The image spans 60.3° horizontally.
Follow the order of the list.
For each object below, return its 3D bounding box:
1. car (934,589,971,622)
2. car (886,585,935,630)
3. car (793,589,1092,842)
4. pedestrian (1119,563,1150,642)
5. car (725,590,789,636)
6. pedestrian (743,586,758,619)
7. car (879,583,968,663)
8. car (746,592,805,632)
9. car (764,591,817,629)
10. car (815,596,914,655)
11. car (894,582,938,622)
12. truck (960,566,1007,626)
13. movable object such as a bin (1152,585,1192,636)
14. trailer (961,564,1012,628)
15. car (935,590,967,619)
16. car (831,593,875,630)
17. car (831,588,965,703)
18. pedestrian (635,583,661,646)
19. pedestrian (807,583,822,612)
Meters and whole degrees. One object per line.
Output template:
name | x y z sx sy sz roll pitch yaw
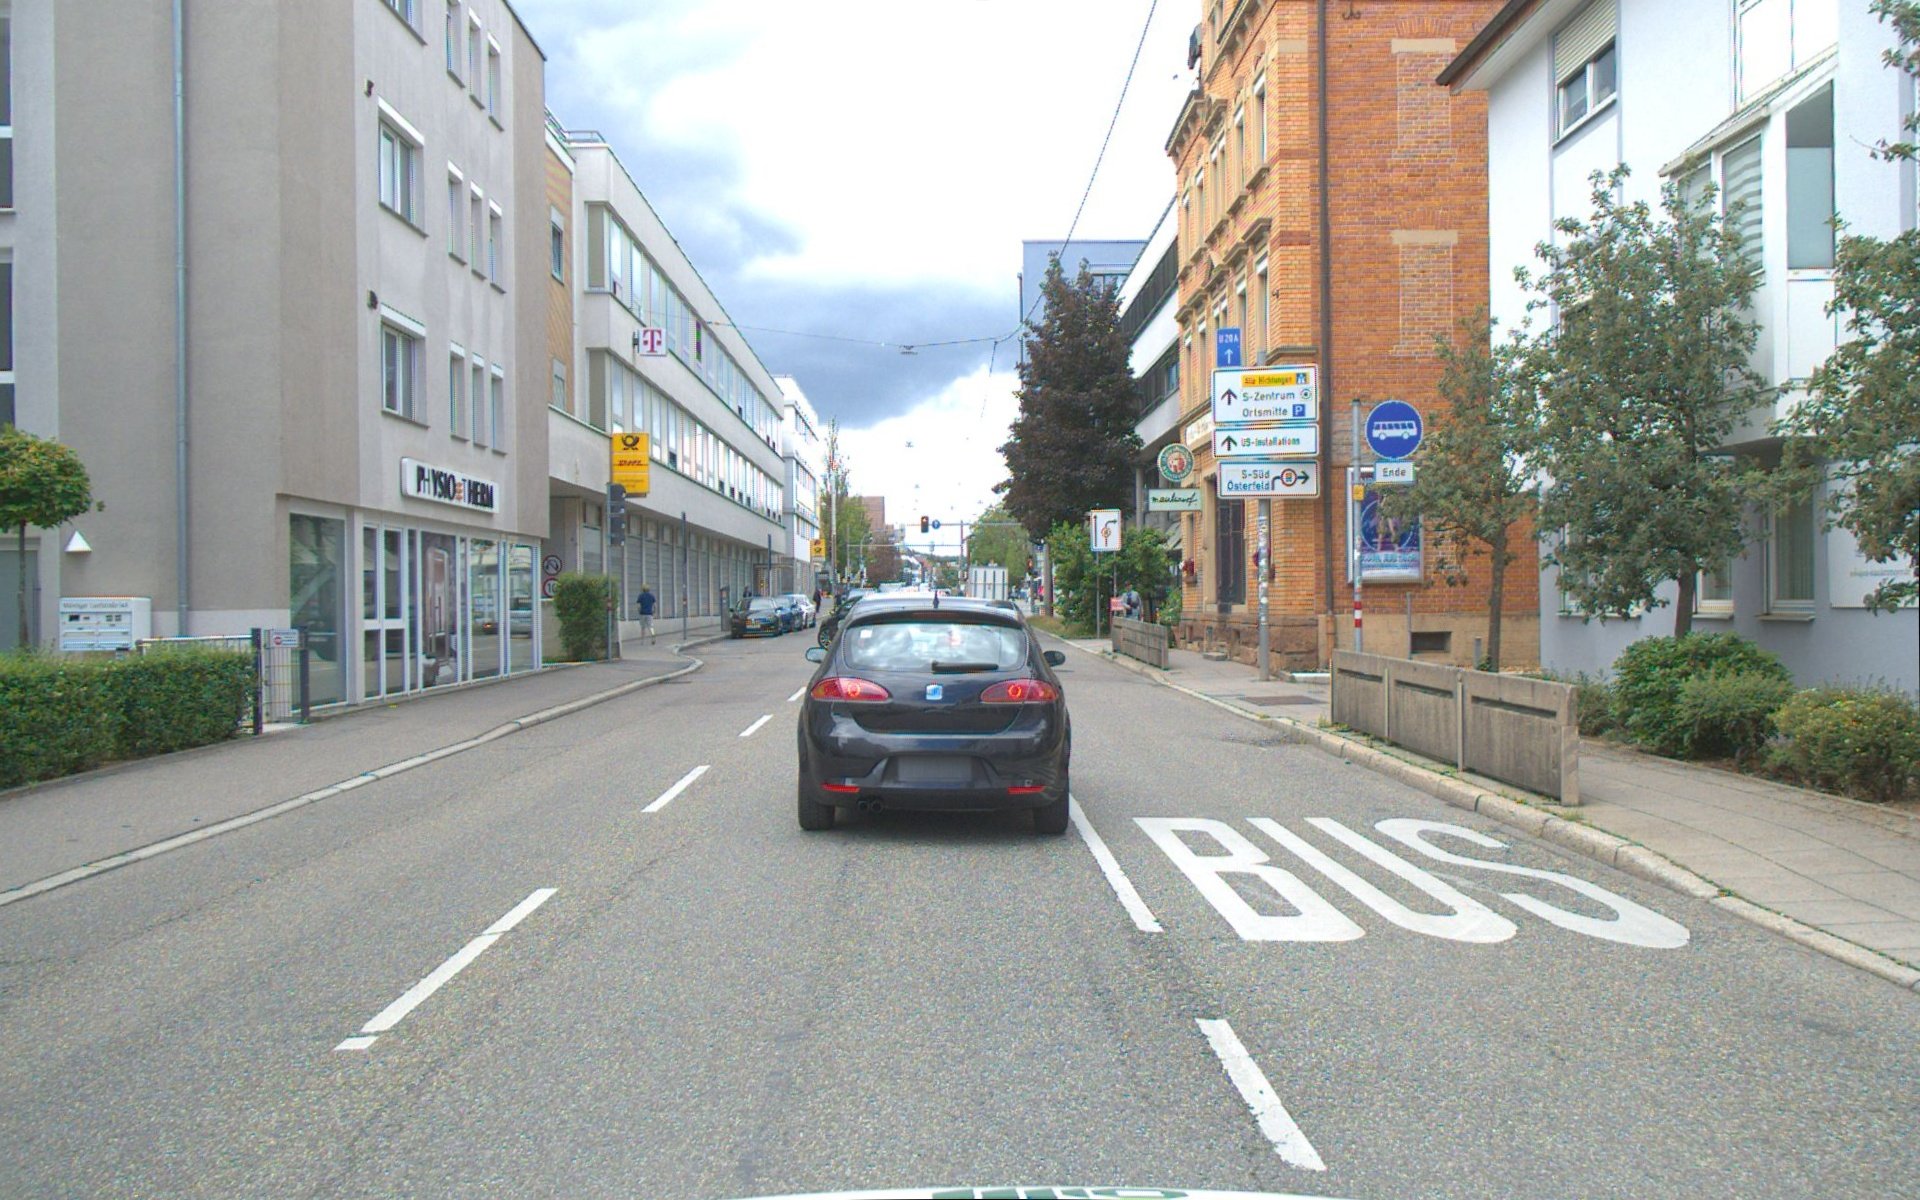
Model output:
car | -0.416 0.248 84.508 1.767 1.629 3.736 1 0 -2
car | -1.854 0.265 62.454 1.767 1.629 3.736 1 0 -2
car | -0.132 0.657 11.523 1.730 1.458 3.827 0 0 -1
pedestrian | 4.608 0.066 43.691 0.679 2.049 0.676 -1 0 -3
car | -7.349 0.451 60.118 1.874 1.543 4.173 -2 0 -2
pedestrian | -10.680 0.134 84.251 0.642 1.651 0.681 0 0 0
car | -0.776 0.446 34.753 1.767 1.580 3.736 0 0 -2
car | -7.312 0.449 65.906 1.953 1.543 4.173 0 0 -2
car | -7.277 0.406 71.399 1.953 1.543 4.173 0 0 -2
car | -2.458 0.596 41.706 1.749 1.389 4.397 0 0 -14
car | -1.874 0.074 70.408 1.767 1.629 3.736 1 0 -2
truck | 1.033 -0.193 74.481 1.953 2.653 3.259 0 0 -2
movable object such as a bin | 6.419 0.324 50.150 0.924 1.496 1.444 -2 0 -3
trailer | 1.109 -0.170 71.715 1.953 2.653 5.347 0 0 -2
car | -0.562 0.265 96.894 1.767 1.629 3.736 1 0 -2
car | -5.310 0.540 82.623 1.953 1.769 4.552 -1 0 -2
car | -0.877 0.593 23.810 1.767 1.519 3.736 0 0 -2
pedestrian | -8.966 0.418 47.536 0.630 1.800 0.809 0 0 -3
pedestrian | -9.599 -0.174 109.217 0.899 1.901 0.783 0 0 -2
